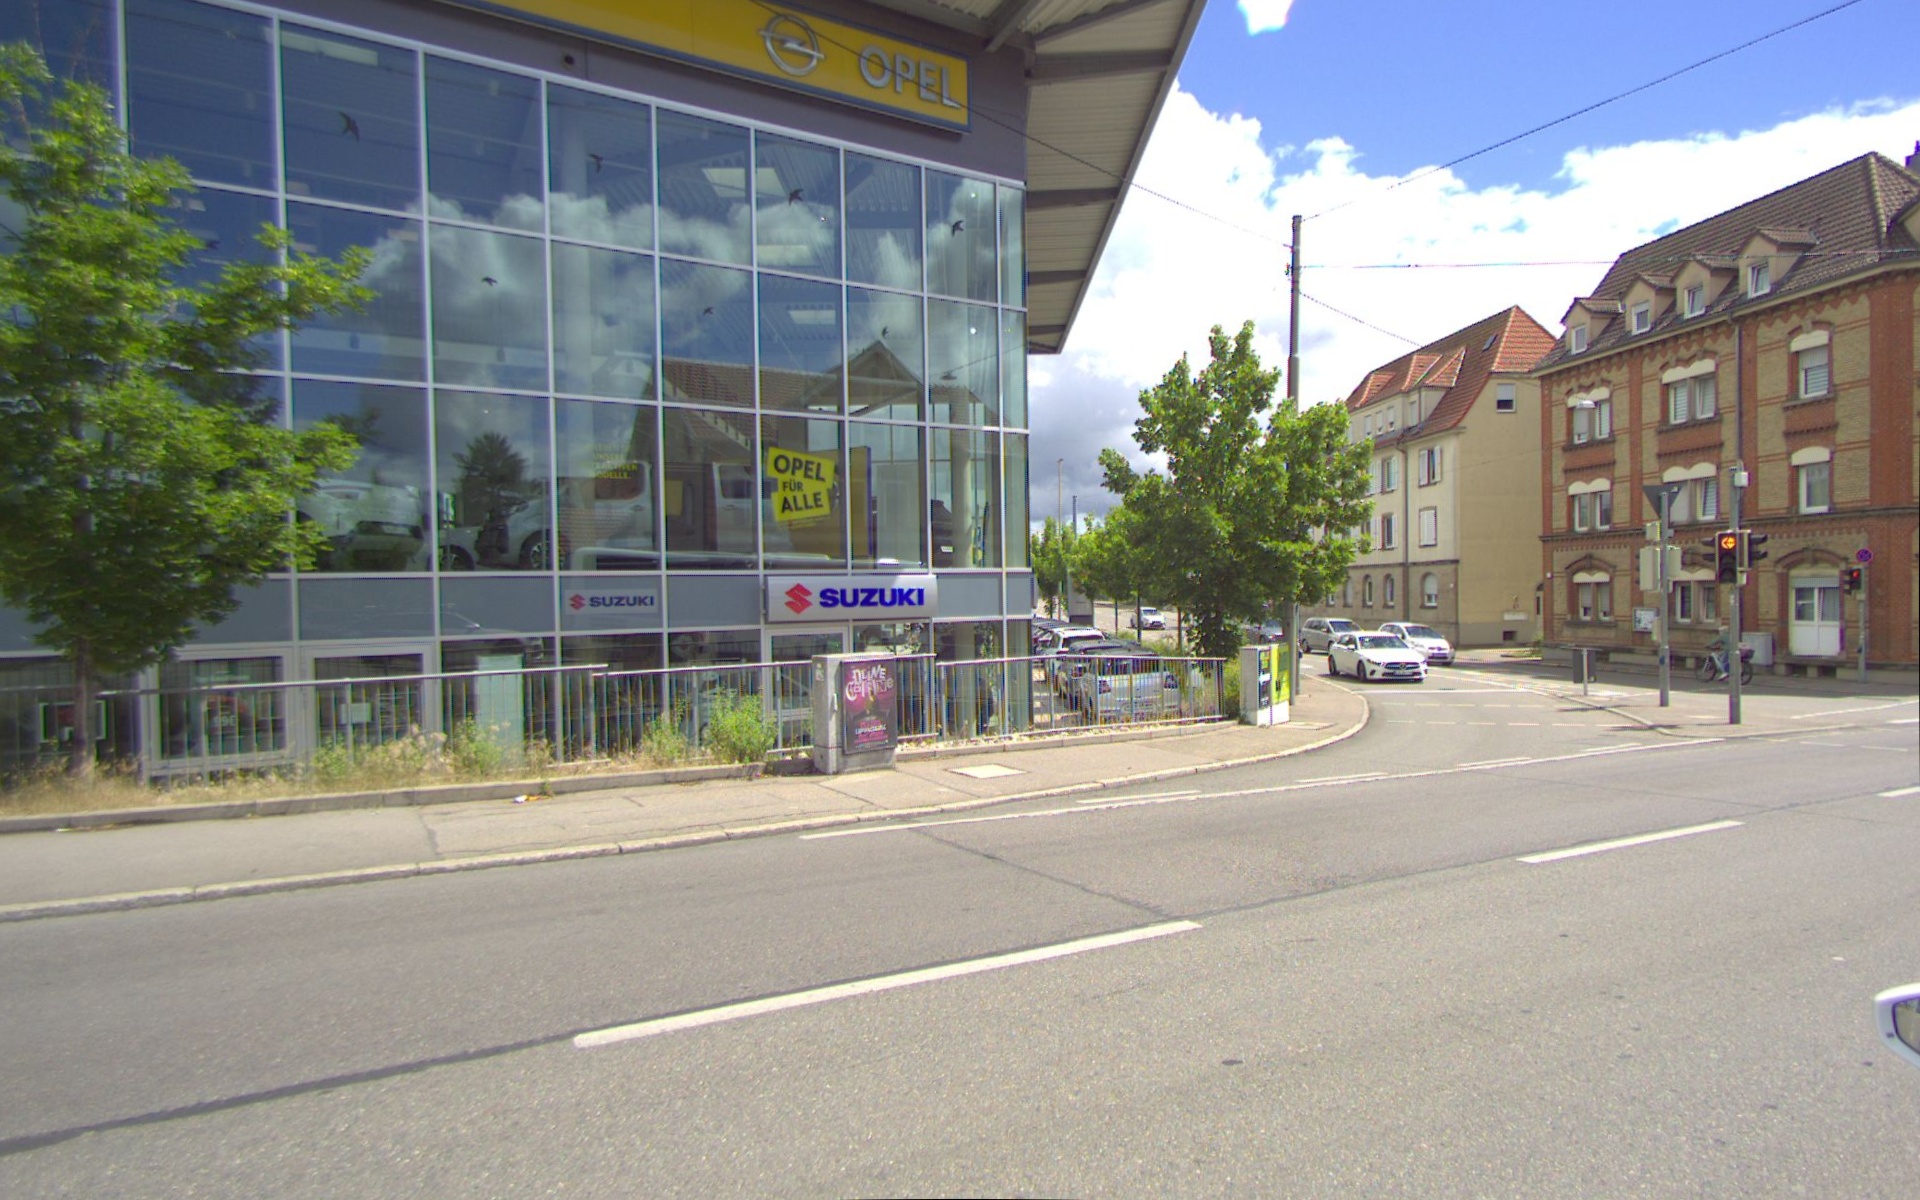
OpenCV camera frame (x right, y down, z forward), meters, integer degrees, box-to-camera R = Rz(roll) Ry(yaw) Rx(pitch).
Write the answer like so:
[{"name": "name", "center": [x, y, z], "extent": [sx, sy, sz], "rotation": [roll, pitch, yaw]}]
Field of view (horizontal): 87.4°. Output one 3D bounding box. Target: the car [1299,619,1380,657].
[{"name": "car", "center": [16.732, 1.643, 44.505], "extent": [1.715, 1.539, 3.996], "rotation": [1, -1, -7]}]

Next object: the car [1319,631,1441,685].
[{"name": "car", "center": [12.602, 1.699, 30.454], "extent": [1.826, 1.466, 4.391], "rotation": [1, -1, -1]}]

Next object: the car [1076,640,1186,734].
[{"name": "car", "center": [3.391, 1.690, 20.543], "extent": [1.720, 1.596, 3.687], "rotation": [2, -1, 2]}]

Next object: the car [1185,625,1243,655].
[{"name": "car", "center": [14.711, 2.280, 58.333], "extent": [1.963, 1.664, 3.996], "rotation": [1, -1, -7]}]

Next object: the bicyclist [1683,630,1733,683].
[{"name": "bicyclist", "center": [22.426, 1.679, 30.115], "extent": [0.581, 1.519, 1.069], "rotation": [1, -1, -21]}]

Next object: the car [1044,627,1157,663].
[{"name": "car", "center": [5.162, 1.635, 37.202], "extent": [3.921, 1.202, 1.818], "rotation": [1, -1, 0]}]

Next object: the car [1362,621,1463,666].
[{"name": "car", "center": [17.059, 1.609, 38.079], "extent": [1.670, 1.517, 3.995], "rotation": [1, -1, -7]}]

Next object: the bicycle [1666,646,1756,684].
[{"name": "bicycle", "center": [22.442, 1.920, 30.073], "extent": [0.597, 1.033, 2.181], "rotation": [1, -1, -21]}]

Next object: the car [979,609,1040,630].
[{"name": "car", "center": [3.256, 1.270, 66.226], "extent": [3.921, 1.311, 1.818], "rotation": [1, -1, 0]}]

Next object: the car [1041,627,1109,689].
[{"name": "car", "center": [3.276, 1.635, 29.085], "extent": [1.487, 1.596, 3.414], "rotation": [1, -1, -2]}]

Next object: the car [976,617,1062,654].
[{"name": "car", "center": [2.644, 1.587, 45.860], "extent": [1.974, 1.599, 4.476], "rotation": [1, -1, -26]}]

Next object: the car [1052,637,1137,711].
[{"name": "car", "center": [3.227, 1.756, 24.691], "extent": [1.487, 1.543, 3.792], "rotation": [1, -1, -2]}]

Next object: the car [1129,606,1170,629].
[{"name": "car", "center": [13.611, 1.242, 72.498], "extent": [1.961, 1.607, 4.345], "rotation": [1, 0, -2]}]

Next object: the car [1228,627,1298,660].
[{"name": "car", "center": [15.329, 2.186, 51.011], "extent": [1.963, 1.539, 3.996], "rotation": [1, -1, -7]}]

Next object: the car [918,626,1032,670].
[{"name": "car", "center": [0.573, 1.757, 37.178], "extent": [3.919, 1.478, 1.605], "rotation": [1, -1, 15]}]
